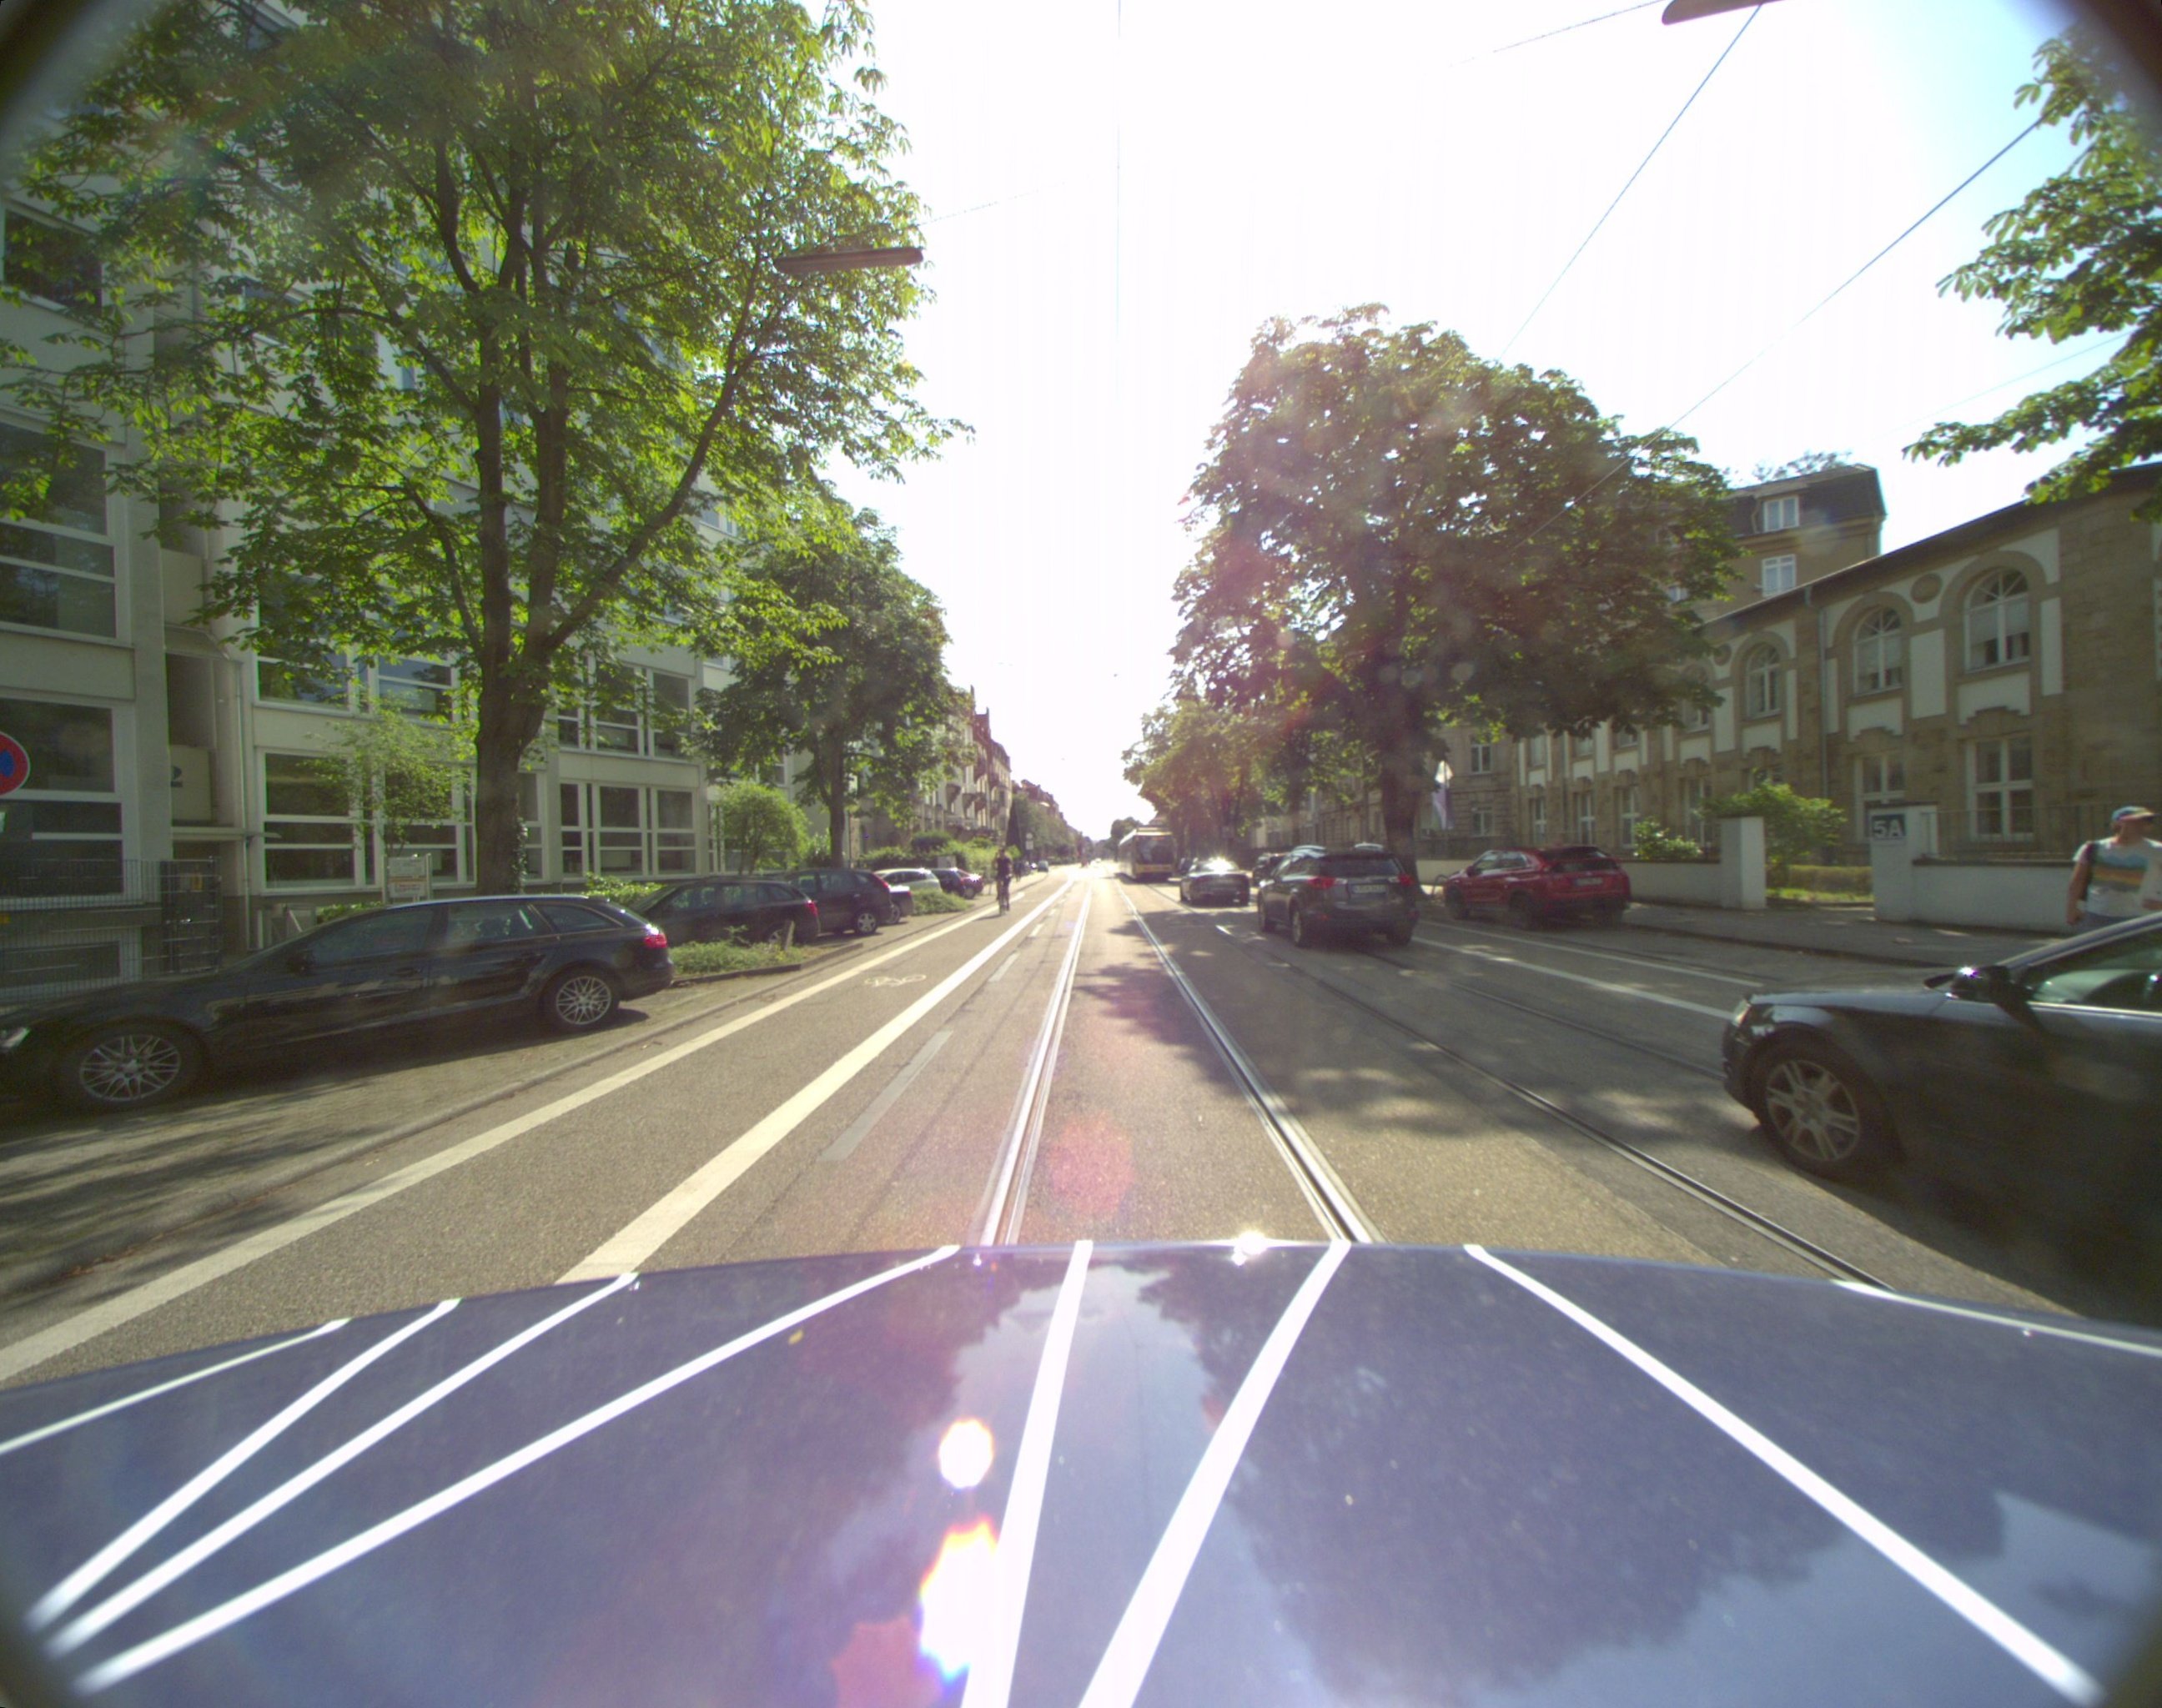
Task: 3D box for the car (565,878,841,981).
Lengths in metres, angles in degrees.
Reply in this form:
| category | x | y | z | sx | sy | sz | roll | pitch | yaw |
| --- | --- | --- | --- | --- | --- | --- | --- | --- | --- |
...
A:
| category | x | y | z | sx | sy | sz | roll | pitch | yaw |
| --- | --- | --- | --- | --- | --- | --- | --- | --- | --- |
| car | -6.661 | 1.246 | 13.669 | 4.084 | 1.434 | 1.722 | -1 | -2 | -43 |

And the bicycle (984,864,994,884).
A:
| category | x | y | z | sx | sy | sz | roll | pitch | yaw |
| --- | --- | --- | --- | --- | --- | --- | --- | --- | --- |
| bicycle | -5.628 | 1.216 | 46.522 | 0.280 | 1.102 | 2.011 | 2 | 1 | 1 |

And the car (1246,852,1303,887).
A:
| category | x | y | z | sx | sy | sz | roll | pitch | yaw |
| --- | --- | --- | --- | --- | --- | --- | --- | --- | --- |
| car | 9.912 | 0.757 | 39.306 | 1.811 | 1.631 | 4.331 | -3 | 0 | 1 |

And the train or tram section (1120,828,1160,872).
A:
| category | x | y | z | sx | sy | sz | roll | pitch | yaw |
| --- | --- | --- | --- | --- | --- | --- | --- | --- | --- |
| train or tram section | 4.811 | -0.337 | 63.888 | 2.659 | 3.369 | 11.473 | 0 | 0 | 1 |

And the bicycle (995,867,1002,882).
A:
| category | x | y | z | sx | sy | sz | roll | pitch | yaw |
| --- | --- | --- | --- | --- | --- | --- | --- | --- | --- |
| bicycle | -5.451 | 1.339 | 50.202 | 0.274 | 0.902 | 1.668 | -2 | 0 | 1 |

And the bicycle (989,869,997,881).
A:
| category | x | y | z | sx | sy | sz | roll | pitch | yaw |
| --- | --- | --- | --- | --- | --- | --- | --- | --- | --- |
| bicycle | -5.587 | 1.347 | 48.434 | 0.280 | 0.673 | 1.559 | 2 | 1 | 1 |

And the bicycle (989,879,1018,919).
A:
| category | x | y | z | sx | sy | sz | roll | pitch | yaw |
| --- | --- | --- | --- | --- | --- | --- | --- | --- | --- |
| bicycle | -2.323 | 1.355 | 23.068 | 0.617 | 1.039 | 1.836 | 3 | 1 | 1 |

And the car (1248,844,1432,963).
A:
| category | x | y | z | sx | sy | sz | roll | pitch | yaw |
| --- | --- | --- | --- | --- | --- | --- | --- | --- | --- |
| car | 4.350 | 0.719 | 13.533 | 1.830 | 1.717 | 4.391 | -2 | 1 | 1 |

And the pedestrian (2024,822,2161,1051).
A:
| category | x | y | z | sx | sy | sz | roll | pitch | yaw |
| --- | --- | --- | --- | --- | --- | --- | --- | --- | --- |
| pedestrian | 8.693 | 0.630 | 6.305 | 0.790 | 1.756 | 0.752 | -3 | 1 | -8 |

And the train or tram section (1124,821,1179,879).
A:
| category | x | y | z | sx | sy | sz | roll | pitch | yaw |
| --- | --- | --- | --- | --- | --- | --- | --- | --- | --- |
| train or tram section | 4.503 | -0.259 | 51.172 | 2.659 | 3.336 | 14.108 | -1 | 0 | 1 |

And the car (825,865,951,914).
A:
| category | x | y | z | sx | sy | sz | roll | pitch | yaw |
| --- | --- | --- | --- | --- | --- | --- | --- | --- | --- |
| car | -6.696 | 1.198 | 26.698 | 4.008 | 1.452 | 1.531 | -2 | 0 | -44 |

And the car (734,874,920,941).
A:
| category | x | y | z | sx | sy | sz | roll | pitch | yaw |
| --- | --- | --- | --- | --- | --- | --- | --- | --- | --- |
| car | -6.585 | 1.332 | 19.980 | 4.183 | 1.341 | 1.900 | -3 | 0 | -44 |

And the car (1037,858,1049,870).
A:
| category | x | y | z | sx | sy | sz | roll | pitch | yaw |
| --- | --- | --- | --- | --- | --- | --- | --- | --- | --- |
| car | -5.066 | 1.332 | 102.023 | 1.517 | 1.490 | 2.794 | 1 | 0 | -1 |

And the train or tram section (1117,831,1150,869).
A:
| category | x | y | z | sx | sy | sz | roll | pitch | yaw |
| --- | --- | --- | --- | --- | --- | --- | --- | --- | --- |
| train or tram section | 5.113 | -0.338 | 75.748 | 2.659 | 3.416 | 12.316 | 0 | 0 | 1 |

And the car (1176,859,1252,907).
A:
| category | x | y | z | sx | sy | sz | roll | pitch | yaw |
| --- | --- | --- | --- | --- | --- | --- | --- | --- | --- |
| car | 4.288 | 0.894 | 25.157 | 1.803 | 1.380 | 4.426 | -1 | 0 | 1 |

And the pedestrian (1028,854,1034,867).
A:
| category | x | y | z | sx | sy | sz | roll | pitch | yaw |
| --- | --- | --- | --- | --- | --- | --- | --- | --- | --- |
| pedestrian | -7.375 | 1.018 | 111.985 | 0.661 | 1.831 | 0.873 | 8 | -1 | -7 |

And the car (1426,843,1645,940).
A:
| category | x | y | z | sx | sy | sz | roll | pitch | yaw |
| --- | --- | --- | --- | --- | --- | --- | --- | --- | --- |
| car | 9.287 | 0.658 | 16.077 | 1.755 | 1.656 | 4.720 | -3 | 0 | 0 |

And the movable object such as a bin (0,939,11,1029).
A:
| category | x | y | z | sx | sy | sz | roll | pitch | yaw |
| --- | --- | --- | --- | --- | --- | --- | --- | --- | --- |
| movable object such as a bin | -14.018 | 1.621 | 9.281 | 1.032 | 1.084 | 0.932 | 1 | 1 | 26 |

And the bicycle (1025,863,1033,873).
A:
| category | x | y | z | sx | sy | sz | roll | pitch | yaw |
| --- | --- | --- | --- | --- | --- | --- | --- | --- | --- |
| bicycle | -5.061 | 1.369 | 73.932 | 0.600 | 0.955 | 3.066 | 2 | 0 | -2 |

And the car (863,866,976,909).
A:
| category | x | y | z | sx | sy | sz | roll | pitch | yaw |
| --- | --- | --- | --- | --- | --- | --- | --- | --- | --- |
| car | -6.343 | 1.289 | 30.083 | 4.007 | 1.440 | 1.695 | -2 | 0 | -41 |

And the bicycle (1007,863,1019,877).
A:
| category | x | y | z | sx | sy | sz | roll | pitch | yaw |
| --- | --- | --- | --- | --- | --- | --- | --- | --- | --- |
| bicycle | -5.168 | 1.214 | 57.742 | 0.612 | 0.990 | 2.362 | 1 | 0 | 1 |

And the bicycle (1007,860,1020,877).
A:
| category | x | y | z | sx | sy | sz | roll | pitch | yaw |
| --- | --- | --- | --- | --- | --- | --- | --- | --- | --- |
| bicycle | -5.442 | 1.148 | 61.217 | 0.742 | 1.224 | 2.516 | -1 | 0 | 1 |

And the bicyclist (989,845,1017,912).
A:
| category | x | y | z | sx | sy | sz | roll | pitch | yaw |
| --- | --- | --- | --- | --- | --- | --- | --- | --- | --- |
| bicyclist | -2.342 | 0.719 | 23.002 | 0.608 | 1.937 | 1.130 | -3 | 1 | 1 |

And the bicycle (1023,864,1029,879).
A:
| category | x | y | z | sx | sy | sz | roll | pitch | yaw |
| --- | --- | --- | --- | --- | --- | --- | --- | --- | --- |
| bicycle | -4.943 | 1.576 | 68.786 | 0.452 | 1.253 | 1.844 | 1 | 0 | -2 |

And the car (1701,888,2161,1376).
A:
| category | x | y | z | sx | sy | sz | roll | pitch | yaw |
| --- | --- | --- | --- | --- | --- | --- | --- | --- | --- |
| car | 4.077 | 0.873 | 1.935 | 1.727 | 1.368 | 4.000 | 0 | 0 | 0 |

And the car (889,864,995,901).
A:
| category | x | y | z | sx | sy | sz | roll | pitch | yaw |
| --- | --- | --- | --- | --- | --- | --- | --- | --- | --- |
| car | -6.054 | 1.199 | 33.250 | 4.168 | 1.415 | 1.861 | -1 | 0 | -41 |

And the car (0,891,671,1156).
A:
| category | x | y | z | sx | sy | sz | roll | pitch | yaw |
| --- | --- | --- | --- | --- | --- | --- | --- | --- | --- |
| car | -6.670 | 1.252 | 7.095 | 4.544 | 1.434 | 2.026 | -4 | 1 | -44 |

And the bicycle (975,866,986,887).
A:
| category | x | y | z | sx | sy | sz | roll | pitch | yaw |
| --- | --- | --- | --- | --- | --- | --- | --- | --- | --- |
| bicycle | -5.689 | 1.241 | 43.004 | 0.280 | 1.102 | 2.011 | 2 | 1 | 1 |

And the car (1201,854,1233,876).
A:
| category | x | y | z | sx | sy | sz | roll | pitch | yaw |
| --- | --- | --- | --- | --- | --- | --- | --- | --- | --- |
| car | 10.306 | 0.801 | 57.725 | 1.658 | 1.476 | 3.808 | -3 | 1 | 0 |

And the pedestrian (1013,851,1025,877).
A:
| category | x | y | z | sx | sy | sz | roll | pitch | yaw |
| --- | --- | --- | --- | --- | --- | --- | --- | --- | --- |
| pedestrian | -4.474 | 0.752 | 54.979 | 0.790 | 1.850 | 0.580 | 1 | 0 | -6 |

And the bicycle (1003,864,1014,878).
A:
| category | x | y | z | sx | sy | sz | roll | pitch | yaw |
| --- | --- | --- | --- | --- | --- | --- | --- | --- | --- |
| bicycle | -5.292 | 1.208 | 55.344 | 0.614 | 0.983 | 1.872 | 1 | 1 | 1 |

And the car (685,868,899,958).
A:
| category | x | y | z | sx | sy | sz | roll | pitch | yaw |
| --- | --- | --- | --- | --- | --- | --- | --- | --- | --- |
| car | -6.403 | 1.217 | 17.037 | 4.007 | 1.565 | 1.900 | -3 | 0 | -41 |
